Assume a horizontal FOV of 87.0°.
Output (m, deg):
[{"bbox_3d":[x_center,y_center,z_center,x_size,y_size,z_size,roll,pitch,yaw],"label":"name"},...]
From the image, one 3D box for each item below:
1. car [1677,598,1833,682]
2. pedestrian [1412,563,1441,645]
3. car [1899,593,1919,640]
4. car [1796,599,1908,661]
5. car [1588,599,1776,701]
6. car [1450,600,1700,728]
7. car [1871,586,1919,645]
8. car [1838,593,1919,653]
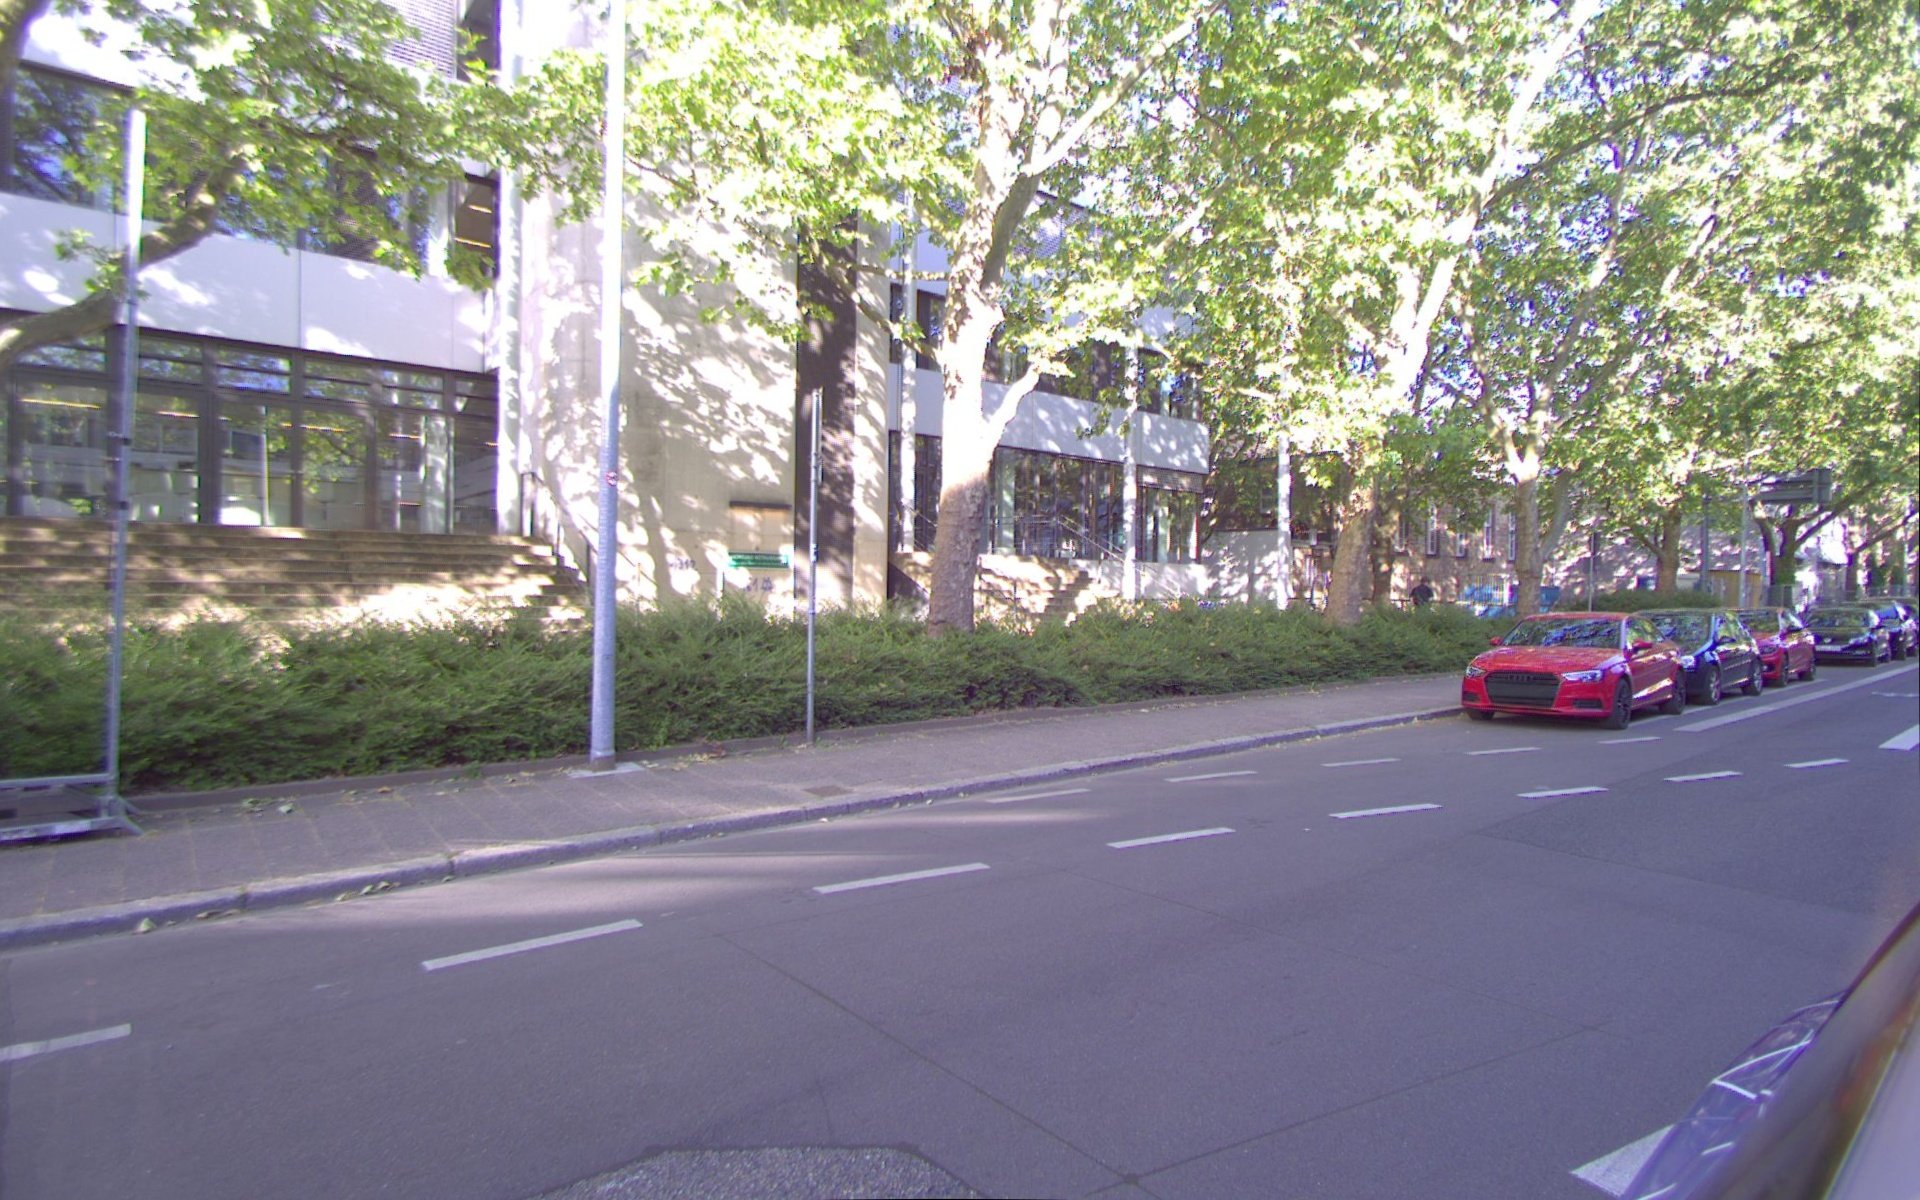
[{"bbox_3d":[15.738,0.703,19.972,3.854,1.467,1.691,-1,0,-40],"label":"car"},{"bbox_3d":[11.767,0.104,25.503,0.549,2.039,0.555,0,0,38],"label":"pedestrian"},{"bbox_3d":[35.530,0.566,36.785,4.497,1.633,1.632,-1,0,-41],"label":"car"},{"bbox_3d":[22.943,0.706,25.988,3.855,1.441,1.691,-1,0,-41],"label":"car"},{"bbox_3d":[11.850,0.726,16.545,3.632,1.436,1.668,-1,0,-40],"label":"car"},{"bbox_3d":[8.296,0.733,13.515,3.931,1.409,1.792,-1,1,-42],"label":"car"},{"bbox_3d":[31.166,0.467,33.013,4.497,1.814,1.632,-1,0,-41],"label":"car"},{"bbox_3d":[26.628,0.598,29.045,4.158,1.598,1.632,-1,0,-41],"label":"car"}]
